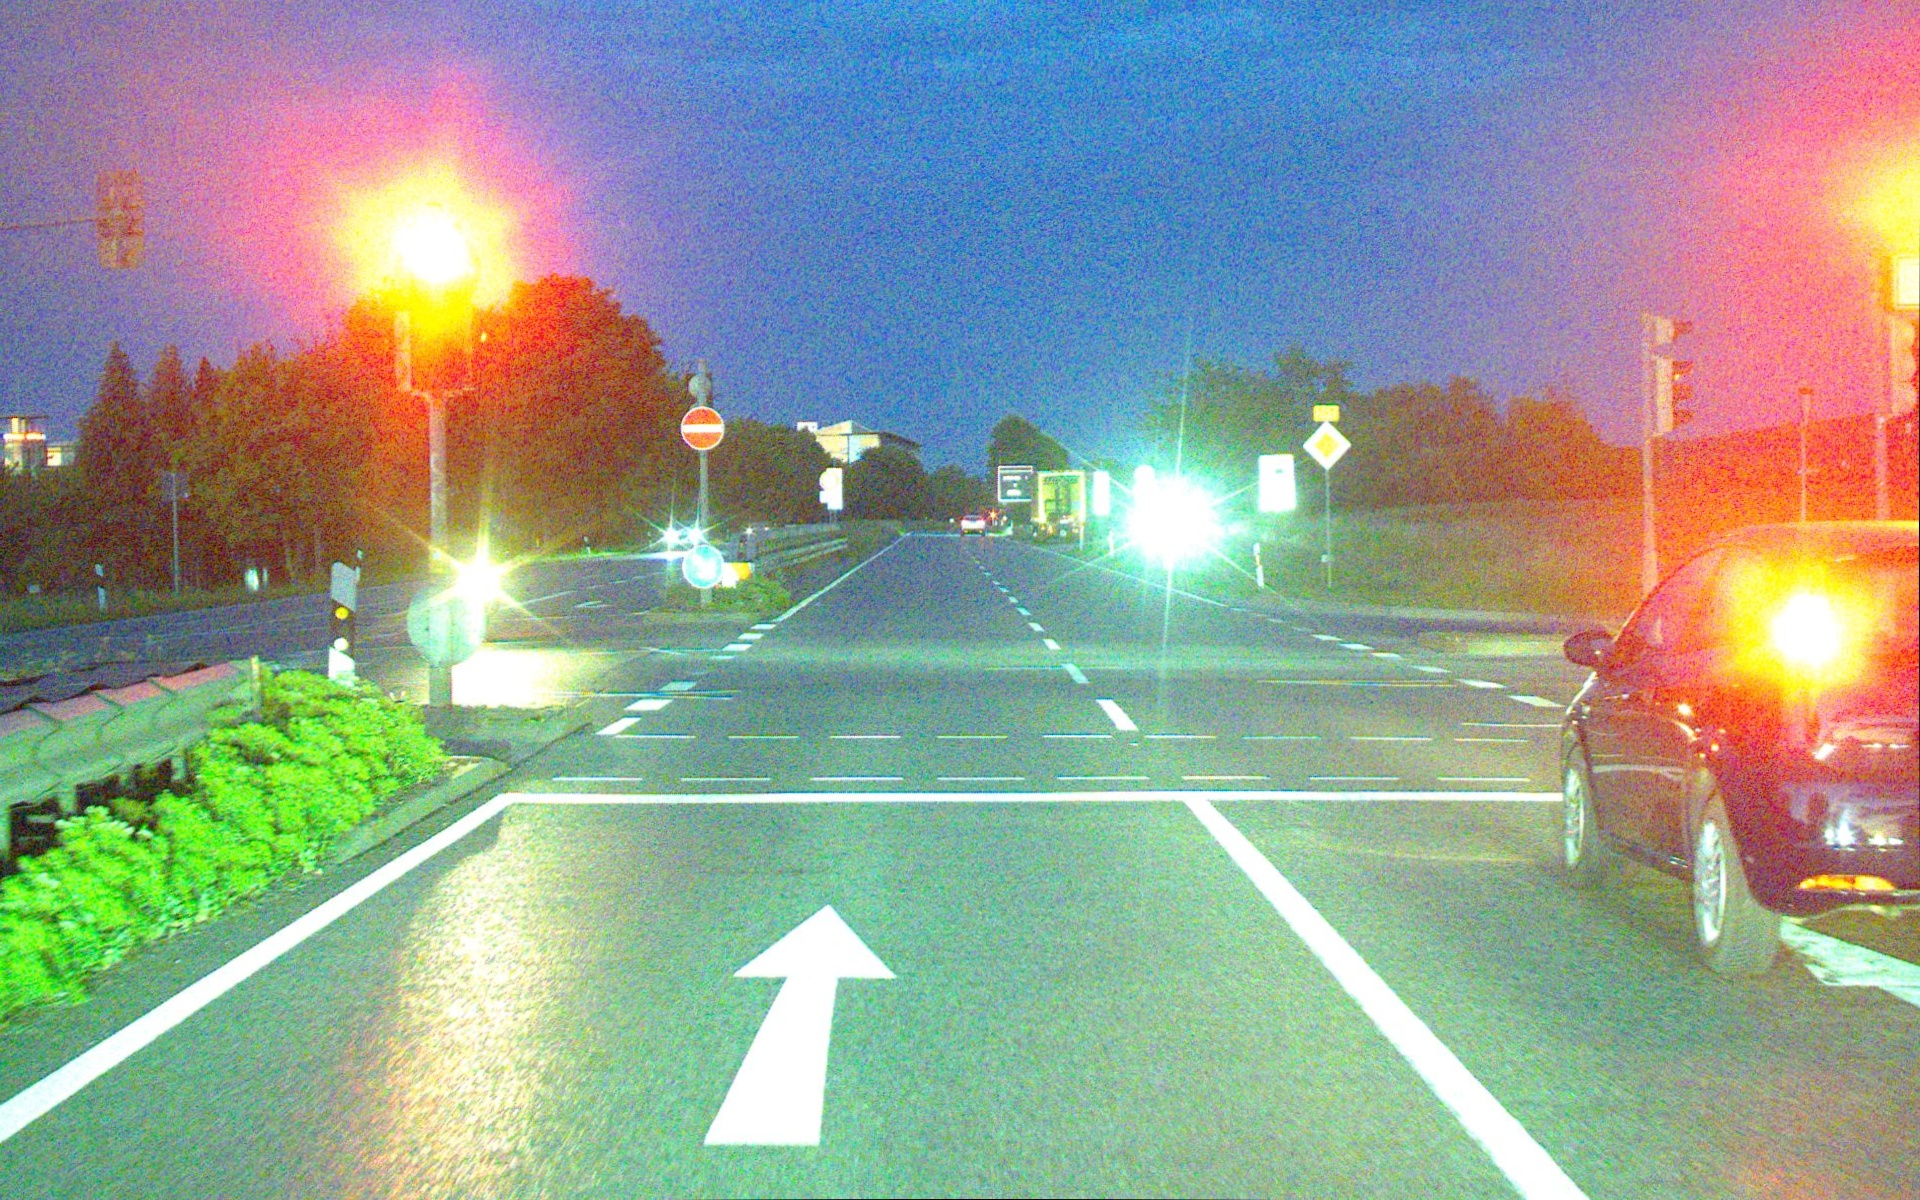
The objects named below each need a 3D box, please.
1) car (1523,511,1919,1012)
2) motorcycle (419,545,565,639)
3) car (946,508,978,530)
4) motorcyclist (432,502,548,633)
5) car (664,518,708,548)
[{"bbox_3d":[3.199,0.445,12.461,1.670,1.515,4.106,0,1,1],"label":"car"},{"bbox_3d":[-5.817,-0.117,42.596,0.979,1.095,2.509,-2,2,-27],"label":"motorcycle"},{"bbox_3d":[0.131,-6.152,260.509,2.273,1.626,4.001,-1,1,-1],"label":"car"},{"bbox_3d":[-5.820,-0.411,42.548,1.137,1.579,0.973,-2,2,-27],"label":"motorcyclist"},{"bbox_3d":[-14.274,-3.494,179.110,1.993,1.514,4.298,-1,2,-1],"label":"car"}]
